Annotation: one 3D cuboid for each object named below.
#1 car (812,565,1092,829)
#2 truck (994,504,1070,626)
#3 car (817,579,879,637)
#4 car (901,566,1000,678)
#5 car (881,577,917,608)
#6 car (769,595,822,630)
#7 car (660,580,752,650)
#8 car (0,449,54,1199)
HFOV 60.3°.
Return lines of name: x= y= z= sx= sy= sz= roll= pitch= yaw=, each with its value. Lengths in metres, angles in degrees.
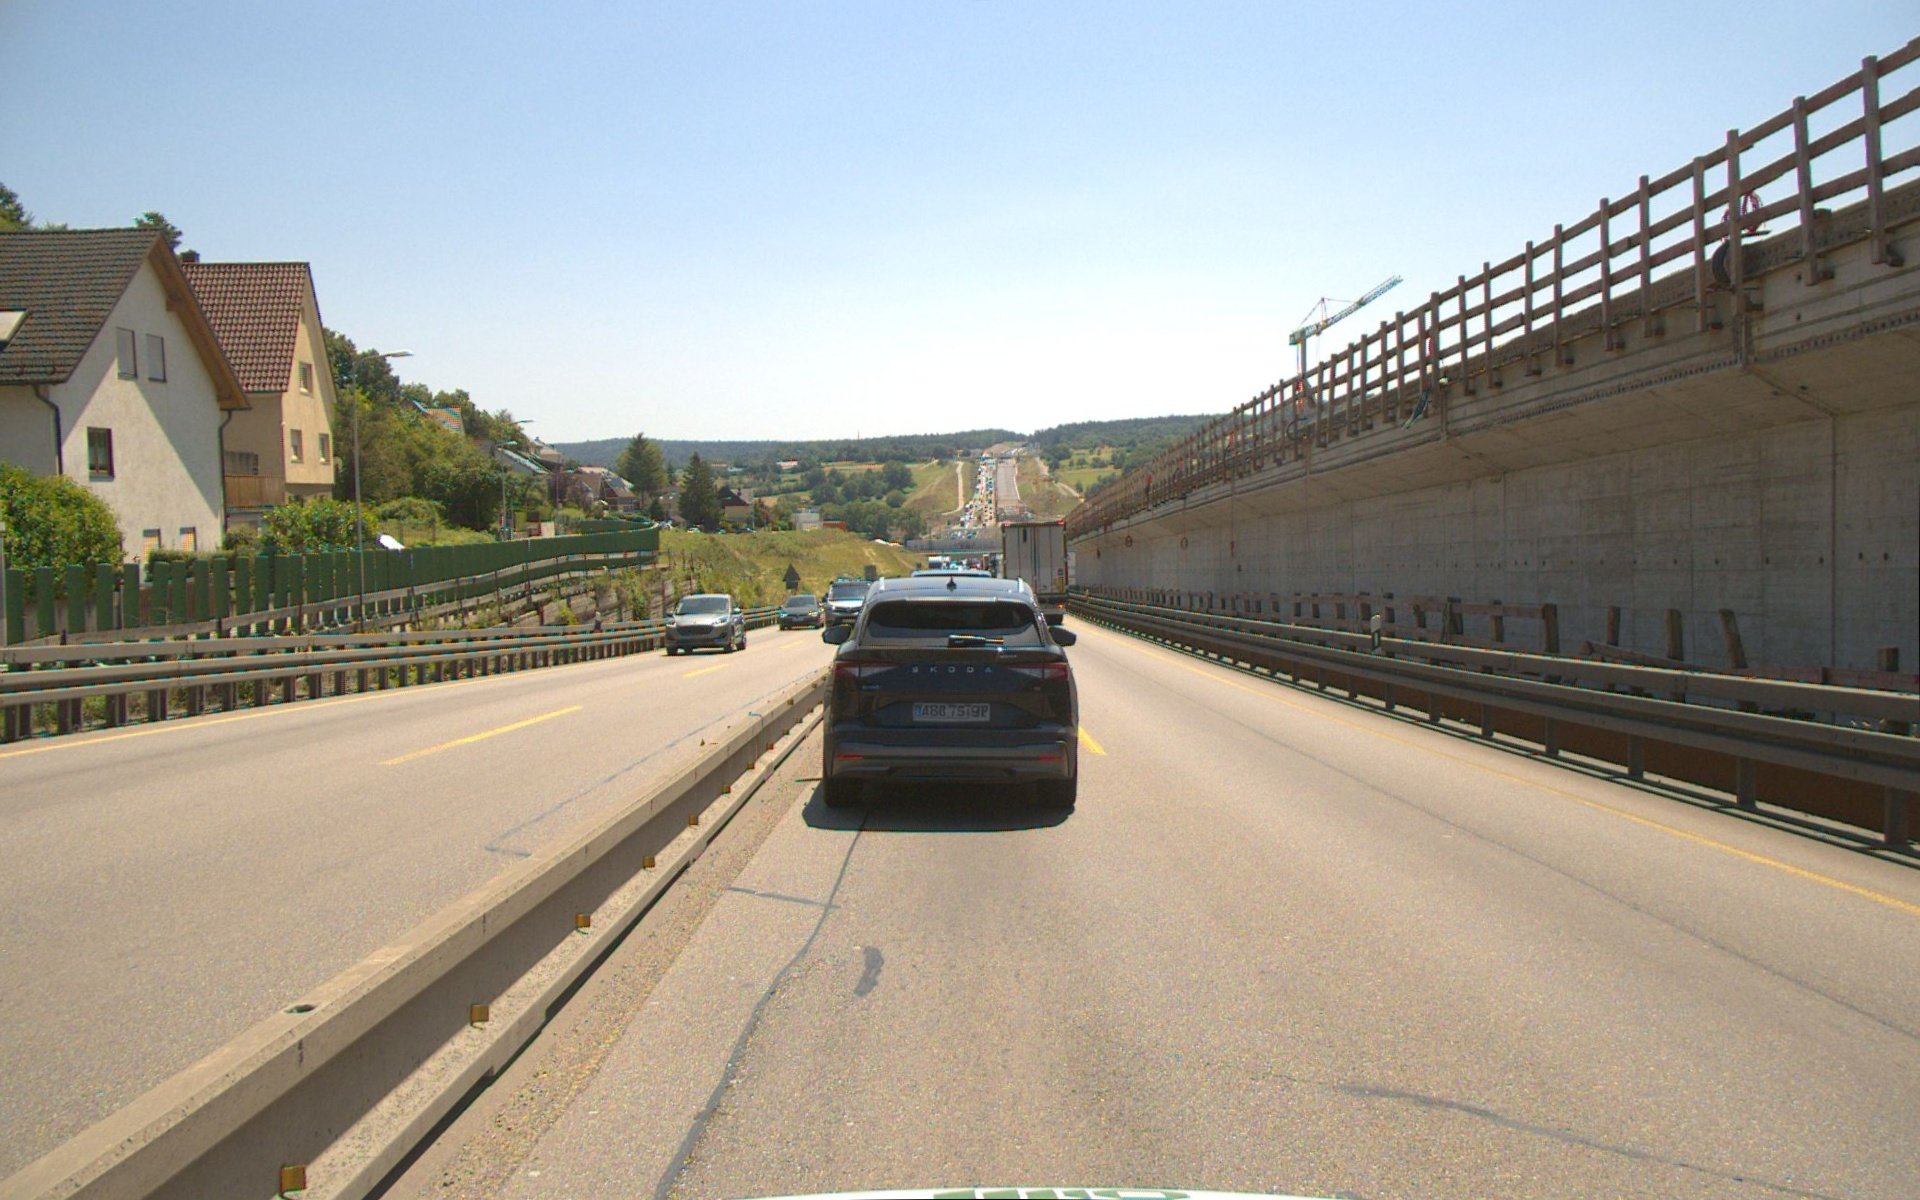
car: x=-0.068 y=0.611 z=12.560 sx=1.746 sy=1.625 sz=3.755 roll=-2 pitch=0 yaw=-1
truck: x=2.945 y=-1.358 z=70.500 sx=2.787 sy=4.696 sz=11.812 roll=-2 pitch=0 yaw=1
car: x=-4.169 y=0.286 z=62.477 sx=1.953 sy=2.049 sz=4.968 roll=-2 pitch=0 yaw=0
car: x=-0.212 y=0.374 z=30.497 sx=1.714 sy=1.928 sz=3.754 roll=0 pitch=0 yaw=-2
car: x=-3.889 y=-0.468 z=105.562 sx=2.113 sy=1.939 sz=5.325 roll=-1 pitch=0 yaw=0
car: x=-7.201 y=0.528 z=72.738 sx=1.953 sy=1.467 sz=4.363 roll=1 pitch=0 yaw=-1
car: x=-7.132 y=0.406 z=46.870 sx=1.953 sy=1.859 sz=4.507 roll=1 pitch=0 yaw=-1
car: x=-3.025 y=0.552 z=1.854 sx=1.773 sy=1.771 sz=4.255 roll=0 pitch=0 yaw=-2
